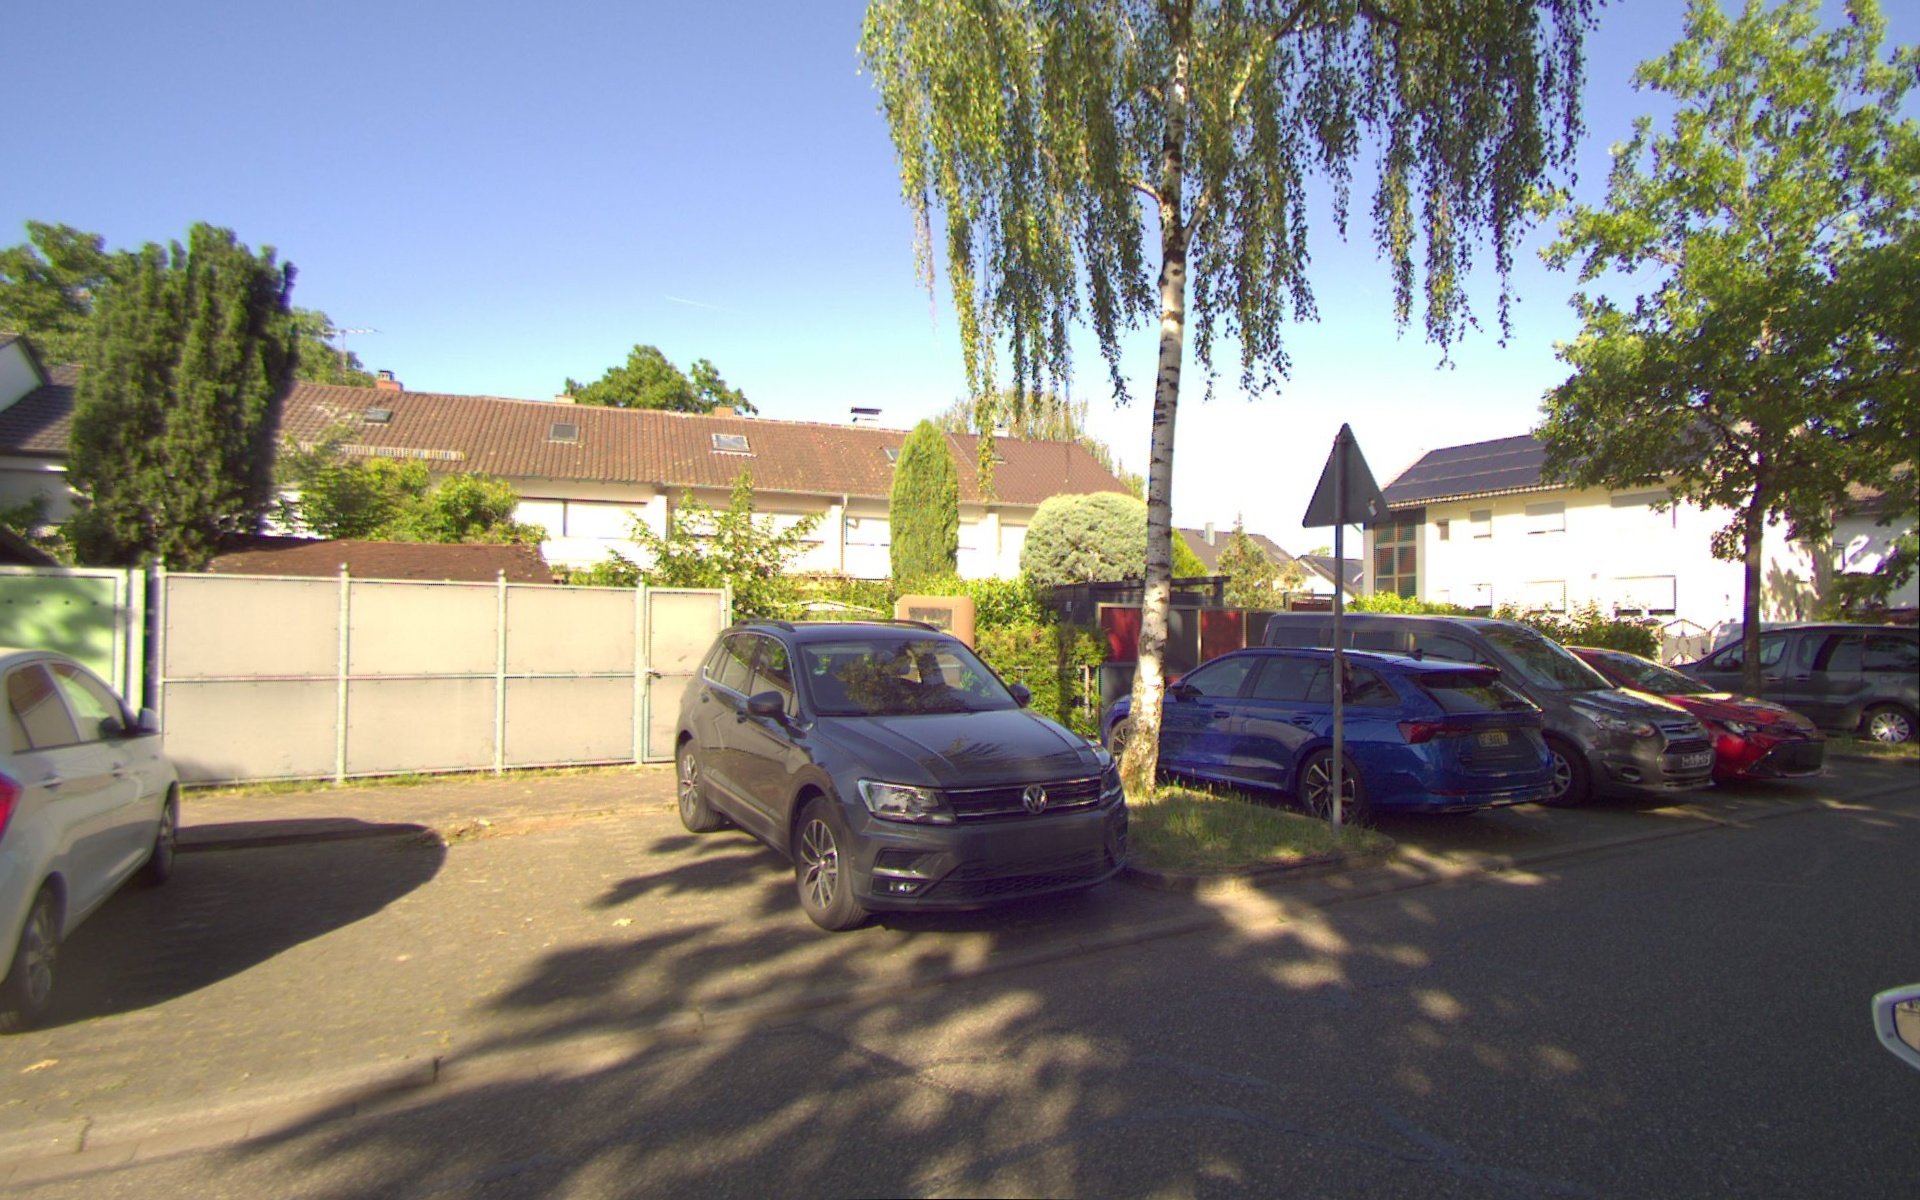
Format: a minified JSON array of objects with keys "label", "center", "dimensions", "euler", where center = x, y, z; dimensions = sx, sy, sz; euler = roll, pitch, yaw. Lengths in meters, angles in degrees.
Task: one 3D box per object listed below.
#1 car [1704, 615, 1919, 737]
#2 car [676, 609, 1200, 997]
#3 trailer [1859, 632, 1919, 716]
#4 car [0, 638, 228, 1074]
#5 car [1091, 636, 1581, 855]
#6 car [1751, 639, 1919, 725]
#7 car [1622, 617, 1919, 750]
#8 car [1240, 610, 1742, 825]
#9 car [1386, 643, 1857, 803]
[{"label":"car","center":[15.890,1.297,17.576],"dimensions":[1.980,1.969,4.211],"euler":[3,-3,-34]},{"label":"car","center":[-0.502,0.967,6.853],"dimensions":[1.740,1.747,4.189],"euler":[2,-1,-31]},{"label":"trailer","center":[20.028,1.502,20.421],"dimensions":[1.456,1.696,2.227],"euler":[1,-2,-28]},{"label":"car","center":[-5.071,0.970,4.992],"dimensions":[1.773,1.535,3.984],"euler":[2,-2,-29]},{"label":"car","center":[3.186,1.127,9.454],"dimensions":[1.702,1.443,4.253],"euler":[1,-1,-28]},{"label":"car","center":[17.723,1.529,19.042],"dimensions":[1.672,1.536,3.966],"euler":[2,-2,-32]},{"label":"car","center":[13.522,1.235,16.293],"dimensions":[1.947,1.793,4.212],"euler":[1,0,-34]},{"label":"car","center":[5.486,1.049,11.086],"dimensions":[1.775,1.792,4.648],"euler":[1,0,-31]},{"label":"car","center":[7.706,1.302,12.206],"dimensions":[1.816,1.519,4.452],"euler":[2,-2,-32]}]
